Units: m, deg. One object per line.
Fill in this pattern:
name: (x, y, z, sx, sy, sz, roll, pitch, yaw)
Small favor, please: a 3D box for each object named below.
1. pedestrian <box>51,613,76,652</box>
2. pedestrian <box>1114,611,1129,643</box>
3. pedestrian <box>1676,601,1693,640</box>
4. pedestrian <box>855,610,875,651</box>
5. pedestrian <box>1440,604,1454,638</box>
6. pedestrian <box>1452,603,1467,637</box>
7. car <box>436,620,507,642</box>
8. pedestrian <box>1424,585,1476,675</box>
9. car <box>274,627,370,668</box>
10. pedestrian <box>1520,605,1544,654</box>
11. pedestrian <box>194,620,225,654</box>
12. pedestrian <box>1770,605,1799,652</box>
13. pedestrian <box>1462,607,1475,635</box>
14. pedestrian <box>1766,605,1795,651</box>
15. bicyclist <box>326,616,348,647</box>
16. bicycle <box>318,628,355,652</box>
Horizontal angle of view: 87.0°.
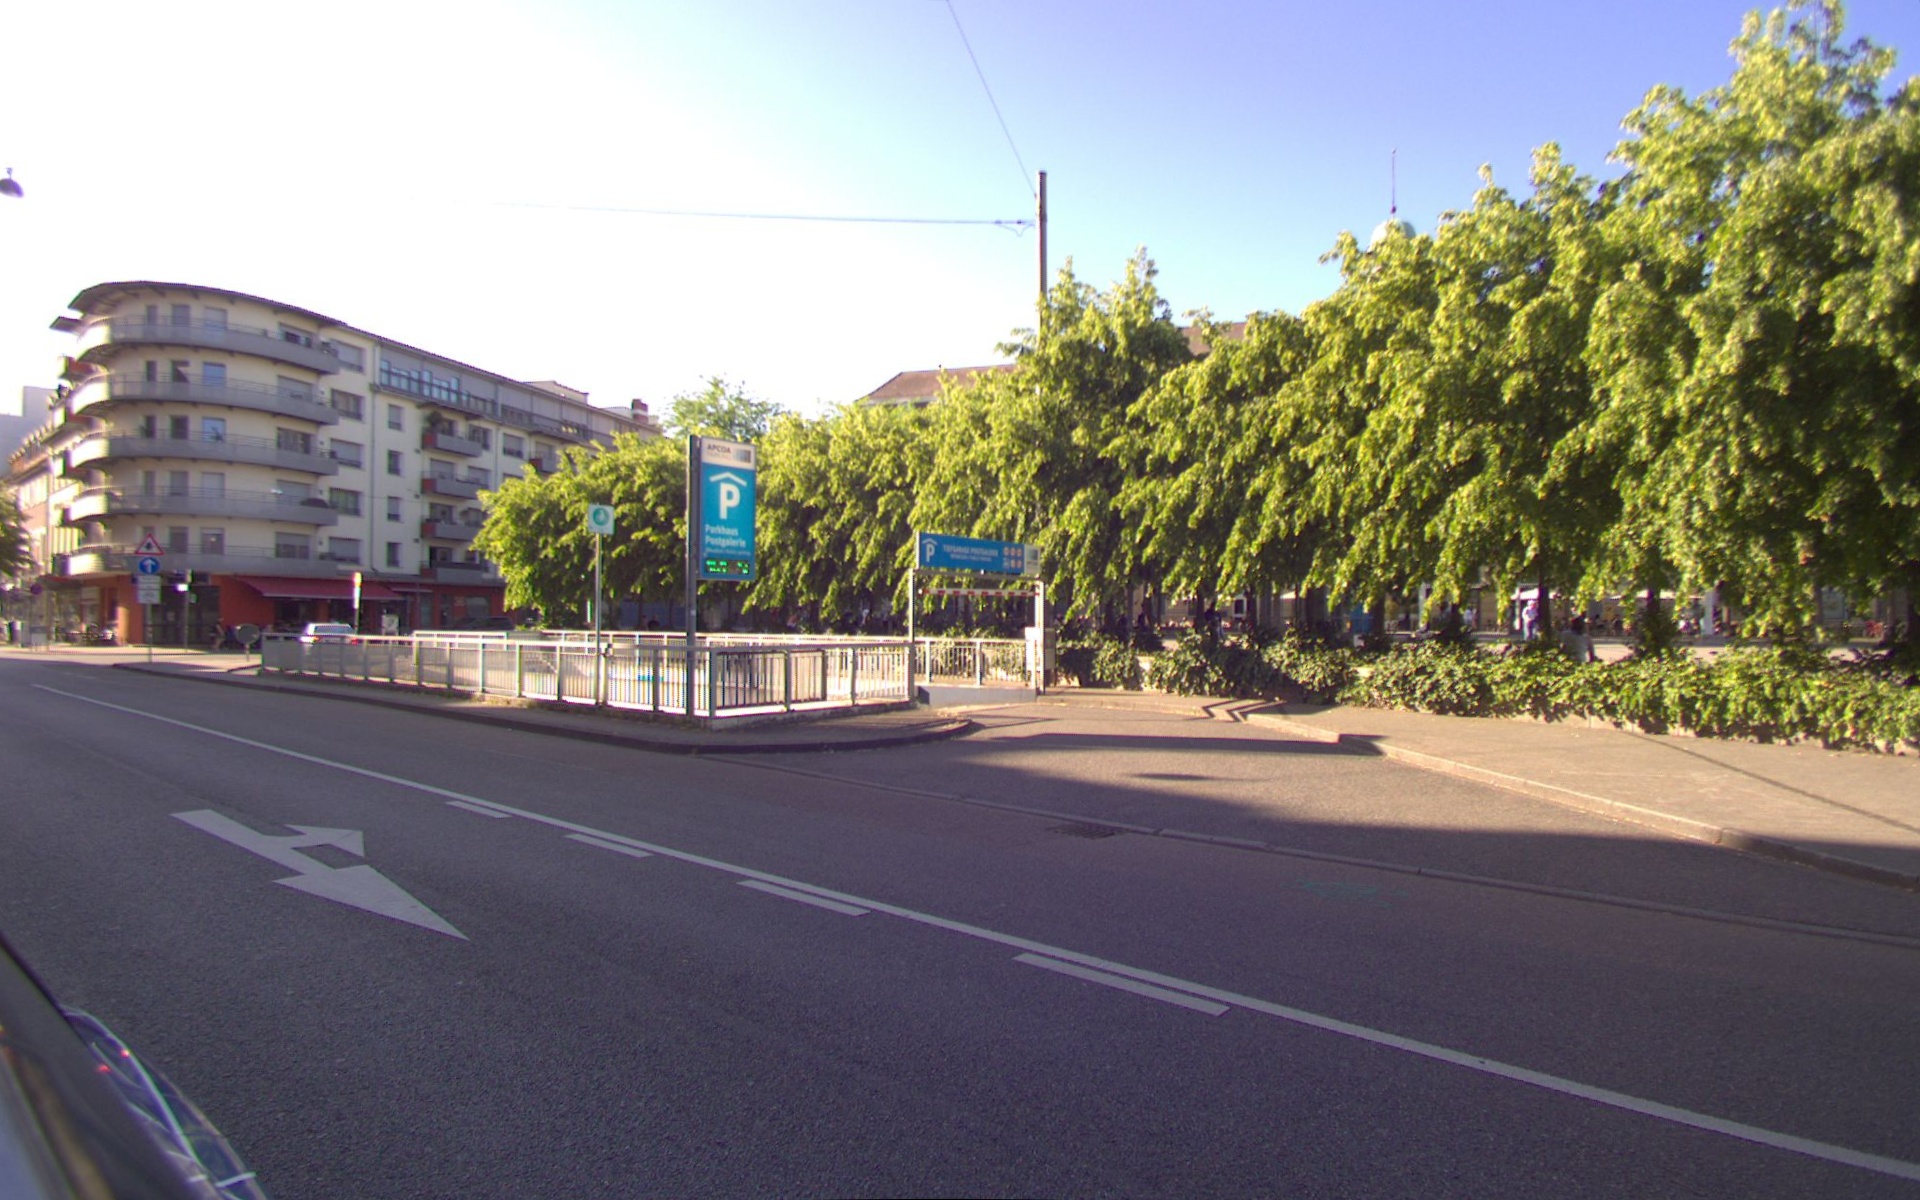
pedestrian: (-46.709, 1.678, 52.736, 0.888, 2.029, 0.850, -1, 0, 40)
pedestrian: (8.663, 1.445, 54.363, 0.606, 1.734, 0.640, -1, 0, 31)
pedestrian: (36.846, 1.030, 51.477, 0.676, 1.963, 0.632, -1, 0, 38)
pedestrian: (-4.116, 1.323, 43.934, 0.604, 1.734, 0.642, -1, 0, 21)
pedestrian: (25.121, 1.097, 52.222, 0.643, 1.734, 0.603, -1, 0, 26)
pedestrian: (26.278, 1.051, 53.232, 0.643, 1.734, 0.603, -1, 0, 26)
car: (-30.453, 1.897, 63.199, 1.742, 1.311, 3.977, -1, -1, 17)
pedestrian: (9.253, 0.545, 19.111, 0.645, 1.661, 0.626, -1, 0, -35)
car: (-23.466, 1.725, 37.155, 4.263, 1.363, 1.800, 0, -3, 41)
pedestrian: (20.634, 1.066, 36.500, 0.643, 1.734, 0.604, -1, 0, 22)
pedestrian: (-36.343, 1.797, 49.014, 0.877, 1.607, 0.861, -1, 0, 2)
pedestrian: (30.952, 1.057, 37.995, 0.641, 1.734, 0.605, -1, 0, 18)
pedestrian: (32.446, 1.352, 64.588, 0.642, 1.734, 0.604, -1, 0, 20)
pedestrian: (30.964, 1.057, 38.199, 0.640, 1.734, 0.606, -1, 0, 13)
bicyclist: (-31.919, 1.583, 51.842, 0.522, 1.559, 0.792, -1, 0, 25)
bicycle: (-31.915, 2.024, 51.844, 0.524, 1.179, 1.580, -1, 0, 24)
